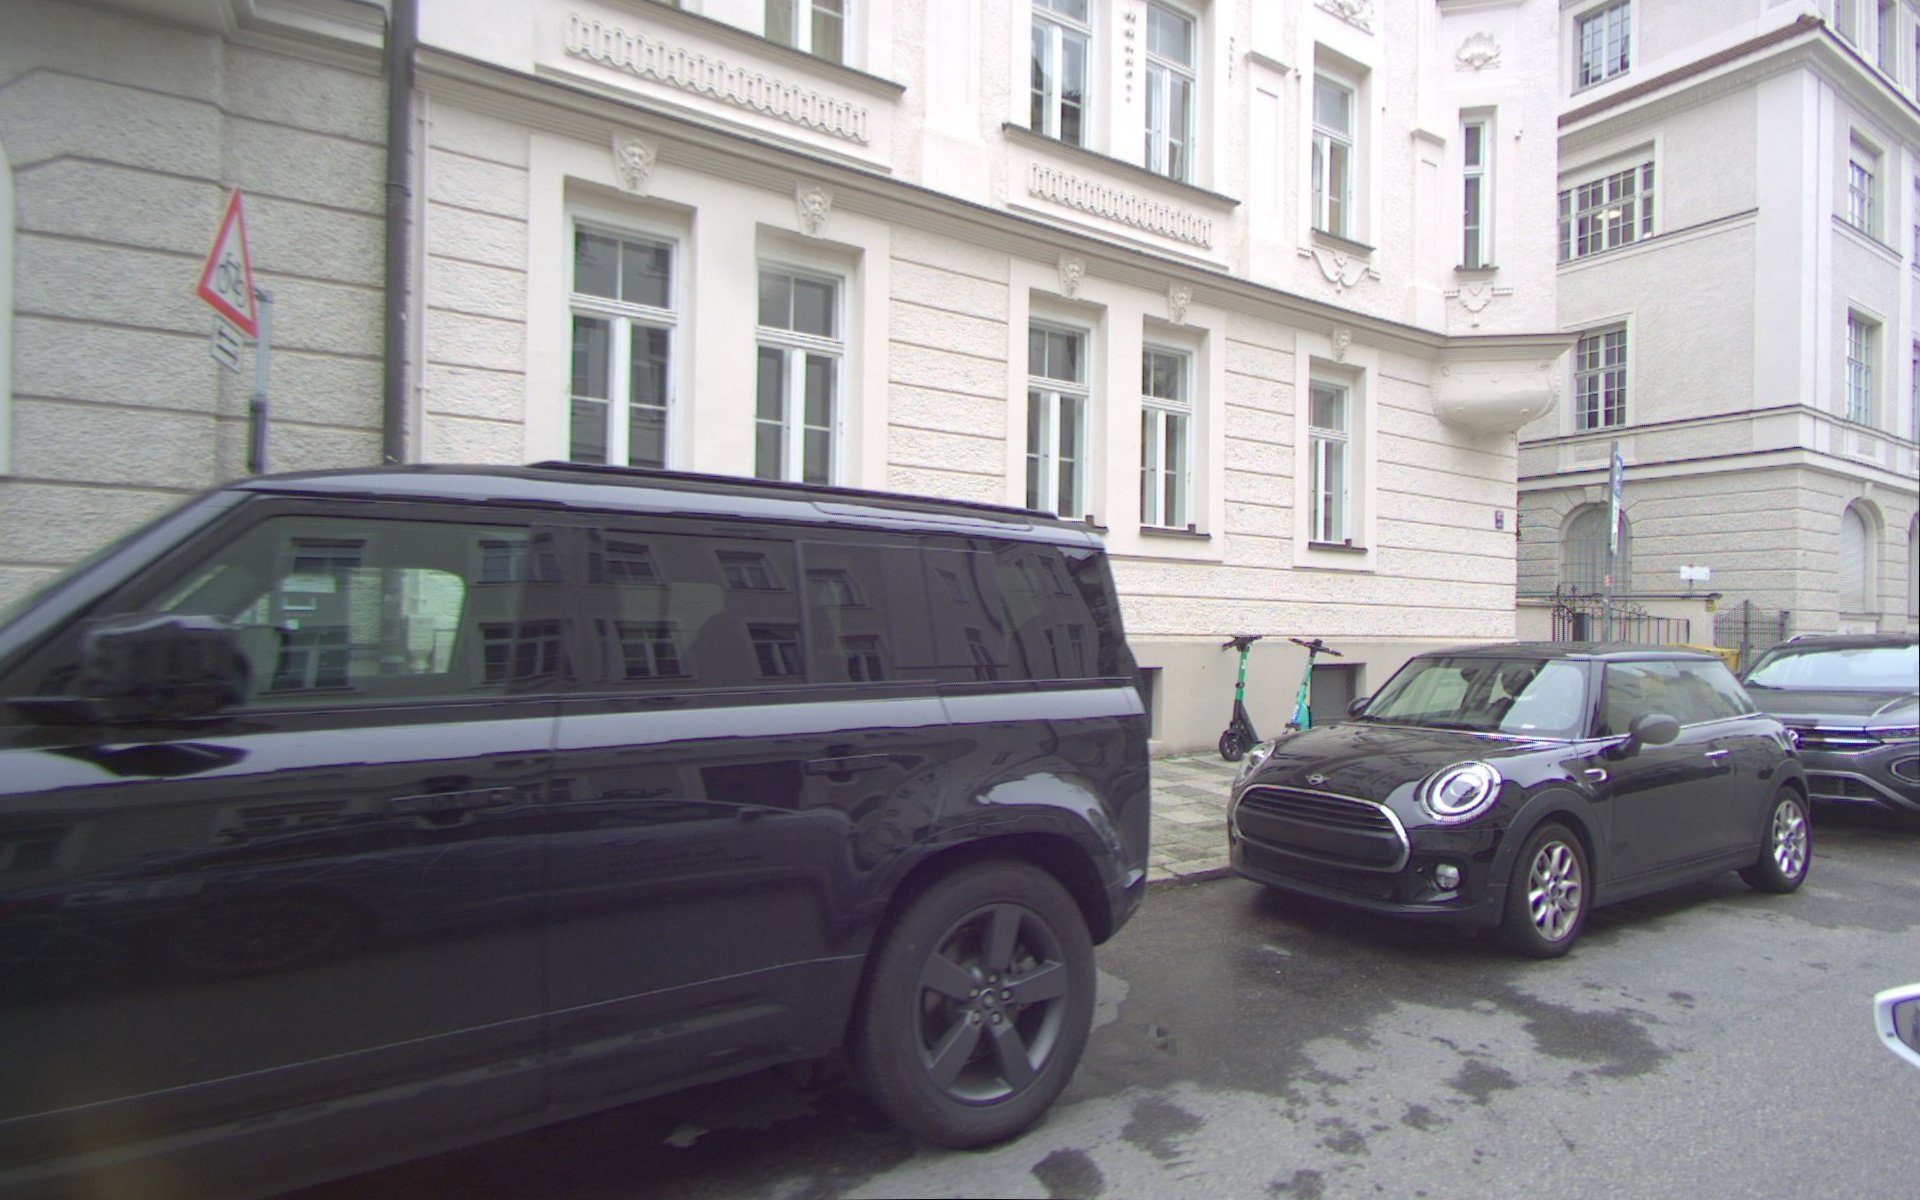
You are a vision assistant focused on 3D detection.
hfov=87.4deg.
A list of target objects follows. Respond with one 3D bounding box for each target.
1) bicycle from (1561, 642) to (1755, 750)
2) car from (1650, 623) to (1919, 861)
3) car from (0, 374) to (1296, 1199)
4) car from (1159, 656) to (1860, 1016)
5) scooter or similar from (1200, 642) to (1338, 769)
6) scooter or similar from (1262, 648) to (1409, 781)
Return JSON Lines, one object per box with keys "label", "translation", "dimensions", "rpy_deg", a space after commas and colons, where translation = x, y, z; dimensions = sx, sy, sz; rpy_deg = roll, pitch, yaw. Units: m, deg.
{"label": "bicycle", "translation": [9.638, 1.266, 13.843], "dimensions": [2.686, 1.259, 1.145], "rpy_deg": [2, 3, -32]}
{"label": "car", "translation": [7.889, 1.065, 8.746], "dimensions": [4.079, 1.640, 1.716], "rpy_deg": [2, -3, -34]}
{"label": "car", "translation": [-1.303, 0.628, 2.984], "dimensions": [4.711, 1.919, 1.826], "rpy_deg": [1, -3, -33]}
{"label": "car", "translation": [3.381, 1.065, 5.996], "dimensions": [4.196, 1.412, 1.827], "rpy_deg": [1, -3, -31]}
{"label": "scooter or similar", "translation": [3.267, 1.074, 10.574], "dimensions": [1.531, 1.238, 0.491], "rpy_deg": [2, -1, -32]}
{"label": "scooter or similar", "translation": [3.729, 1.091, 9.944], "dimensions": [1.531, 1.216, 0.529], "rpy_deg": [2, -1, -32]}
